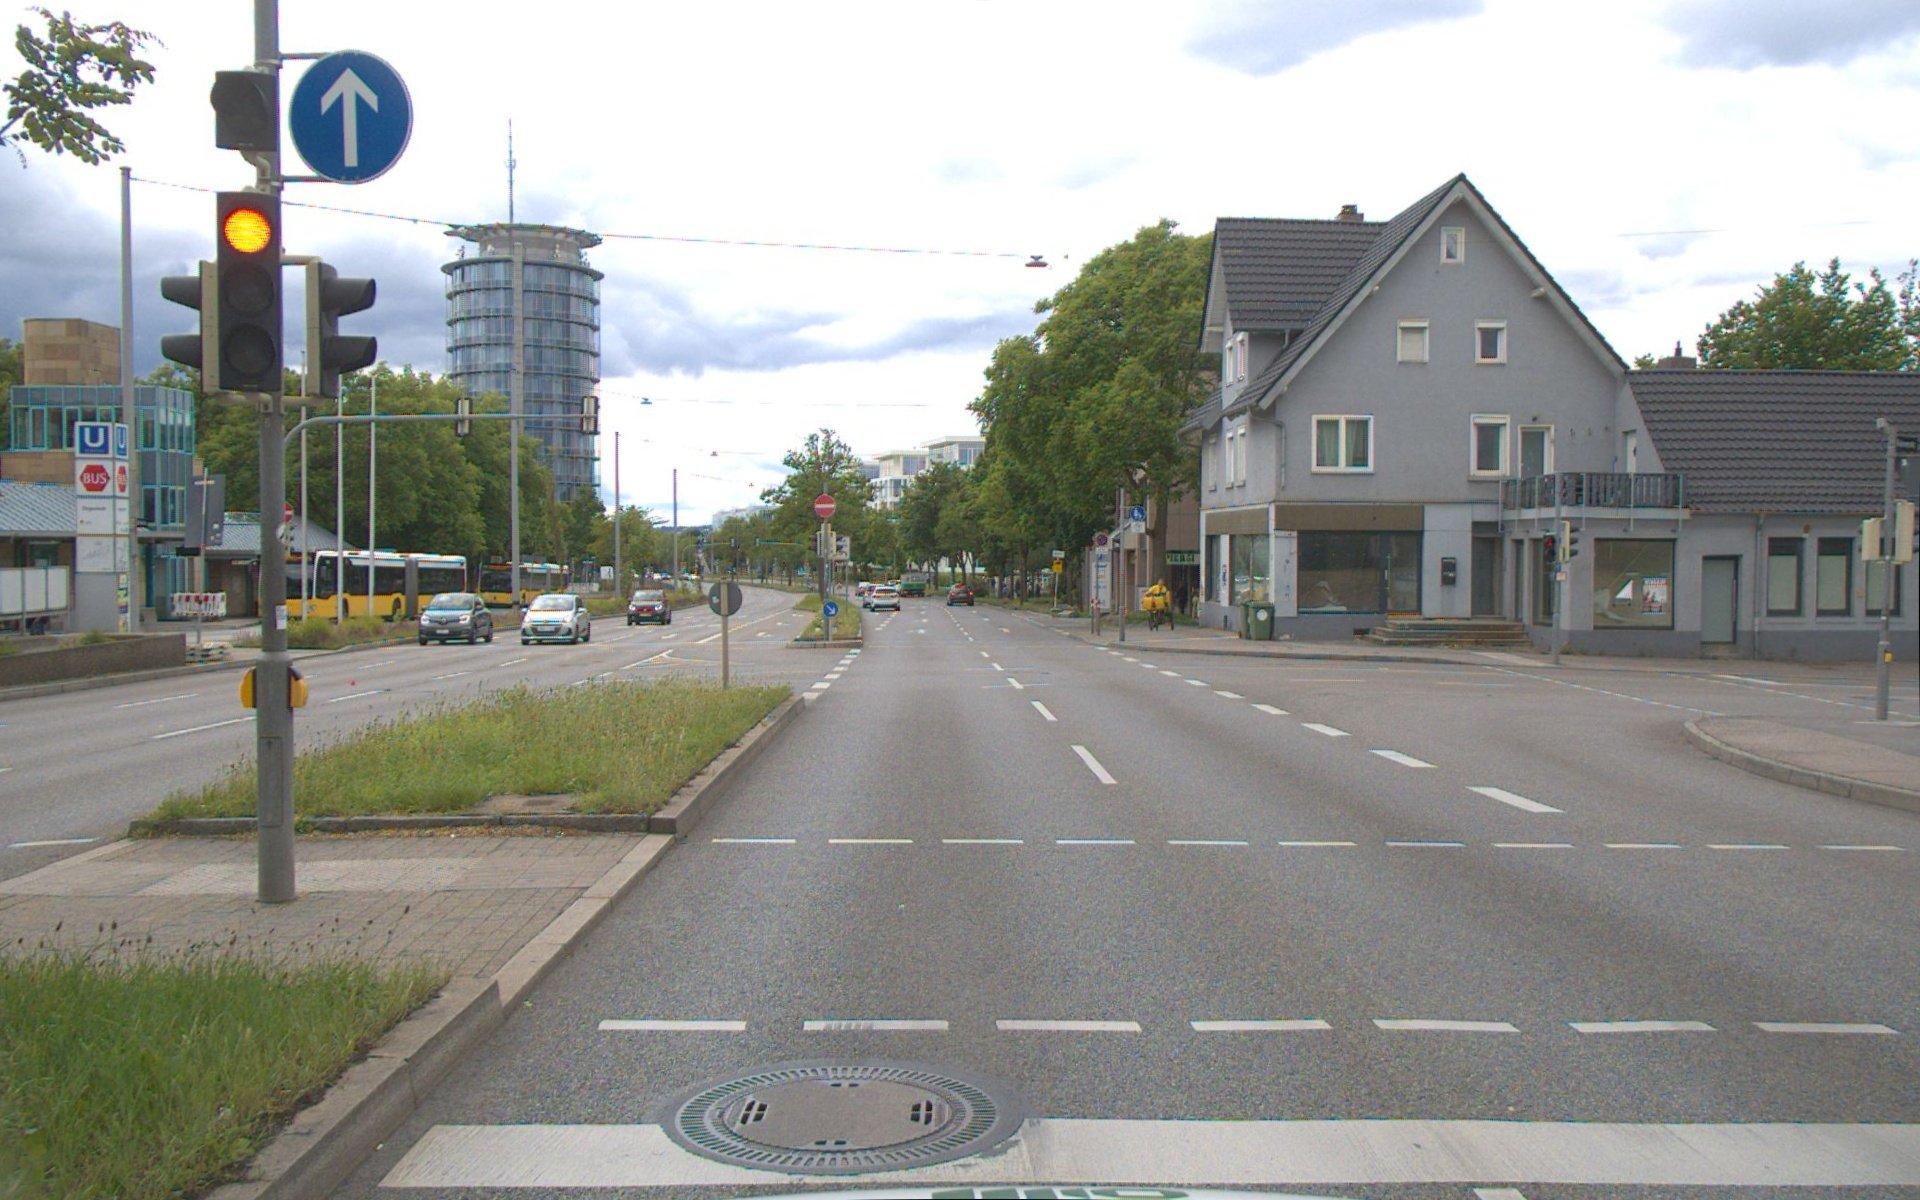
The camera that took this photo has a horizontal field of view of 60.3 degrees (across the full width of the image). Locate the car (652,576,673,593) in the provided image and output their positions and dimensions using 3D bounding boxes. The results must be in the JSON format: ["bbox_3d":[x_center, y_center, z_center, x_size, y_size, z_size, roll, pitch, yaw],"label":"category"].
[{"bbox_3d":[-35.910,-1.854,199.741,1.925,2.049,3.999,1,0,-1],"label":"car"}]

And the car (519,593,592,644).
[{"bbox_3d":[-12.368,0.548,50.725,1.651,1.488,3.552,0,0,-5],"label":"car"}]

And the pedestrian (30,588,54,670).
[{"bbox_3d":[-18.405,0.580,33.169,0.414,1.619,0.353,0,0,-30],"label":"pedestrian"}]

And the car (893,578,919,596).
[{"bbox_3d":[-5.405,-1.262,165.002,2.207,1.787,4.927,0,0,-5],"label":"car"}]

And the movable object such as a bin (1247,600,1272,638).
[{"bbox_3d":[7.994,0.496,44.161,0.518,0.997,0.736,0,0,-1],"label":"movable object such as a bin"}]

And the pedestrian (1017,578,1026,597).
[{"bbox_3d":[5.062,-1.042,136.771,0.638,1.597,0.669,0,0,-9],"label":"pedestrian"}]

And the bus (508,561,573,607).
[{"bbox_3d":[-31.150,-1.145,123.009,3.081,3.281,7.762,0,0,-2],"label":"bus"}]

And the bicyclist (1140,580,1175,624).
[{"bbox_3d":[6.375,0.060,53.309,1.051,1.380,0.628,-1,0,11],"label":"bicyclist"}]

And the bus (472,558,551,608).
[{"bbox_3d":[-30.788,-1.129,114.011,3.082,3.281,10.279,0,0,-3],"label":"bus"}]

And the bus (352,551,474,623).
[{"bbox_3d":[-26.549,-0.619,80.717,2.927,3.327,7.879,-1,0,3],"label":"bus"}]

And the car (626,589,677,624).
[{"bbox_3d":[-13.780,0.278,73.996,1.668,1.518,3.561,-1,0,-2],"label":"car"}]

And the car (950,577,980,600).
[{"bbox_3d":[0.333,-0.795,116.407,1.851,1.521,4.096,-2,-1,-3],"label":"car"}]

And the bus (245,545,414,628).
[{"bbox_3d":[-27.086,-0.566,71.692,2.927,3.307,10.174,-1,0,3],"label":"bus"}]

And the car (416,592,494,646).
[{"bbox_3d":[-15.476,0.563,50.813,1.652,1.606,3.344,0,0,-6],"label":"car"}]

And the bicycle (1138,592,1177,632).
[{"bbox_3d":[6.385,0.372,53.332,1.051,1.239,2.441,-1,0,11],"label":"bicycle"}]

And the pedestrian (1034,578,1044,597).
[{"bbox_3d":[6.527,-1.045,136.725,0.638,1.597,0.669,0,0,-9],"label":"pedestrian"}]

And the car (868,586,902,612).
[{"bbox_3d":[-4.577,-0.071,101.260,1.953,1.503,4.255,0,0,-2],"label":"car"}]

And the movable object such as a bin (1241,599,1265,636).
[{"bbox_3d":[7.964,0.472,44.951,0.518,0.997,0.736,0,0,-1],"label":"movable object such as a bin"}]

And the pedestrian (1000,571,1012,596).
[{"bbox_3d":[3.813,-1.355,137.194,0.951,2.049,0.981,1,-1,-2],"label":"pedestrian"}]

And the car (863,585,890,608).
[{"bbox_3d":[-5.669,-0.231,112.611,1.786,1.567,4.112,0,0,-3],"label":"car"}]

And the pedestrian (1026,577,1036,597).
[{"bbox_3d":[5.856,-1.059,136.633,0.638,1.597,0.669,0,0,-9],"label":"pedestrian"}]

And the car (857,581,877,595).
[{"bbox_3d":[-9.724,-1.280,173.022,1.929,1.444,4.017,0,0,-6],"label":"car"}]

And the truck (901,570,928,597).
[{"bbox_3d":[-4.351,-1.553,156.425,2.207,2.459,4.927,0,0,-5],"label":"truck"}]
